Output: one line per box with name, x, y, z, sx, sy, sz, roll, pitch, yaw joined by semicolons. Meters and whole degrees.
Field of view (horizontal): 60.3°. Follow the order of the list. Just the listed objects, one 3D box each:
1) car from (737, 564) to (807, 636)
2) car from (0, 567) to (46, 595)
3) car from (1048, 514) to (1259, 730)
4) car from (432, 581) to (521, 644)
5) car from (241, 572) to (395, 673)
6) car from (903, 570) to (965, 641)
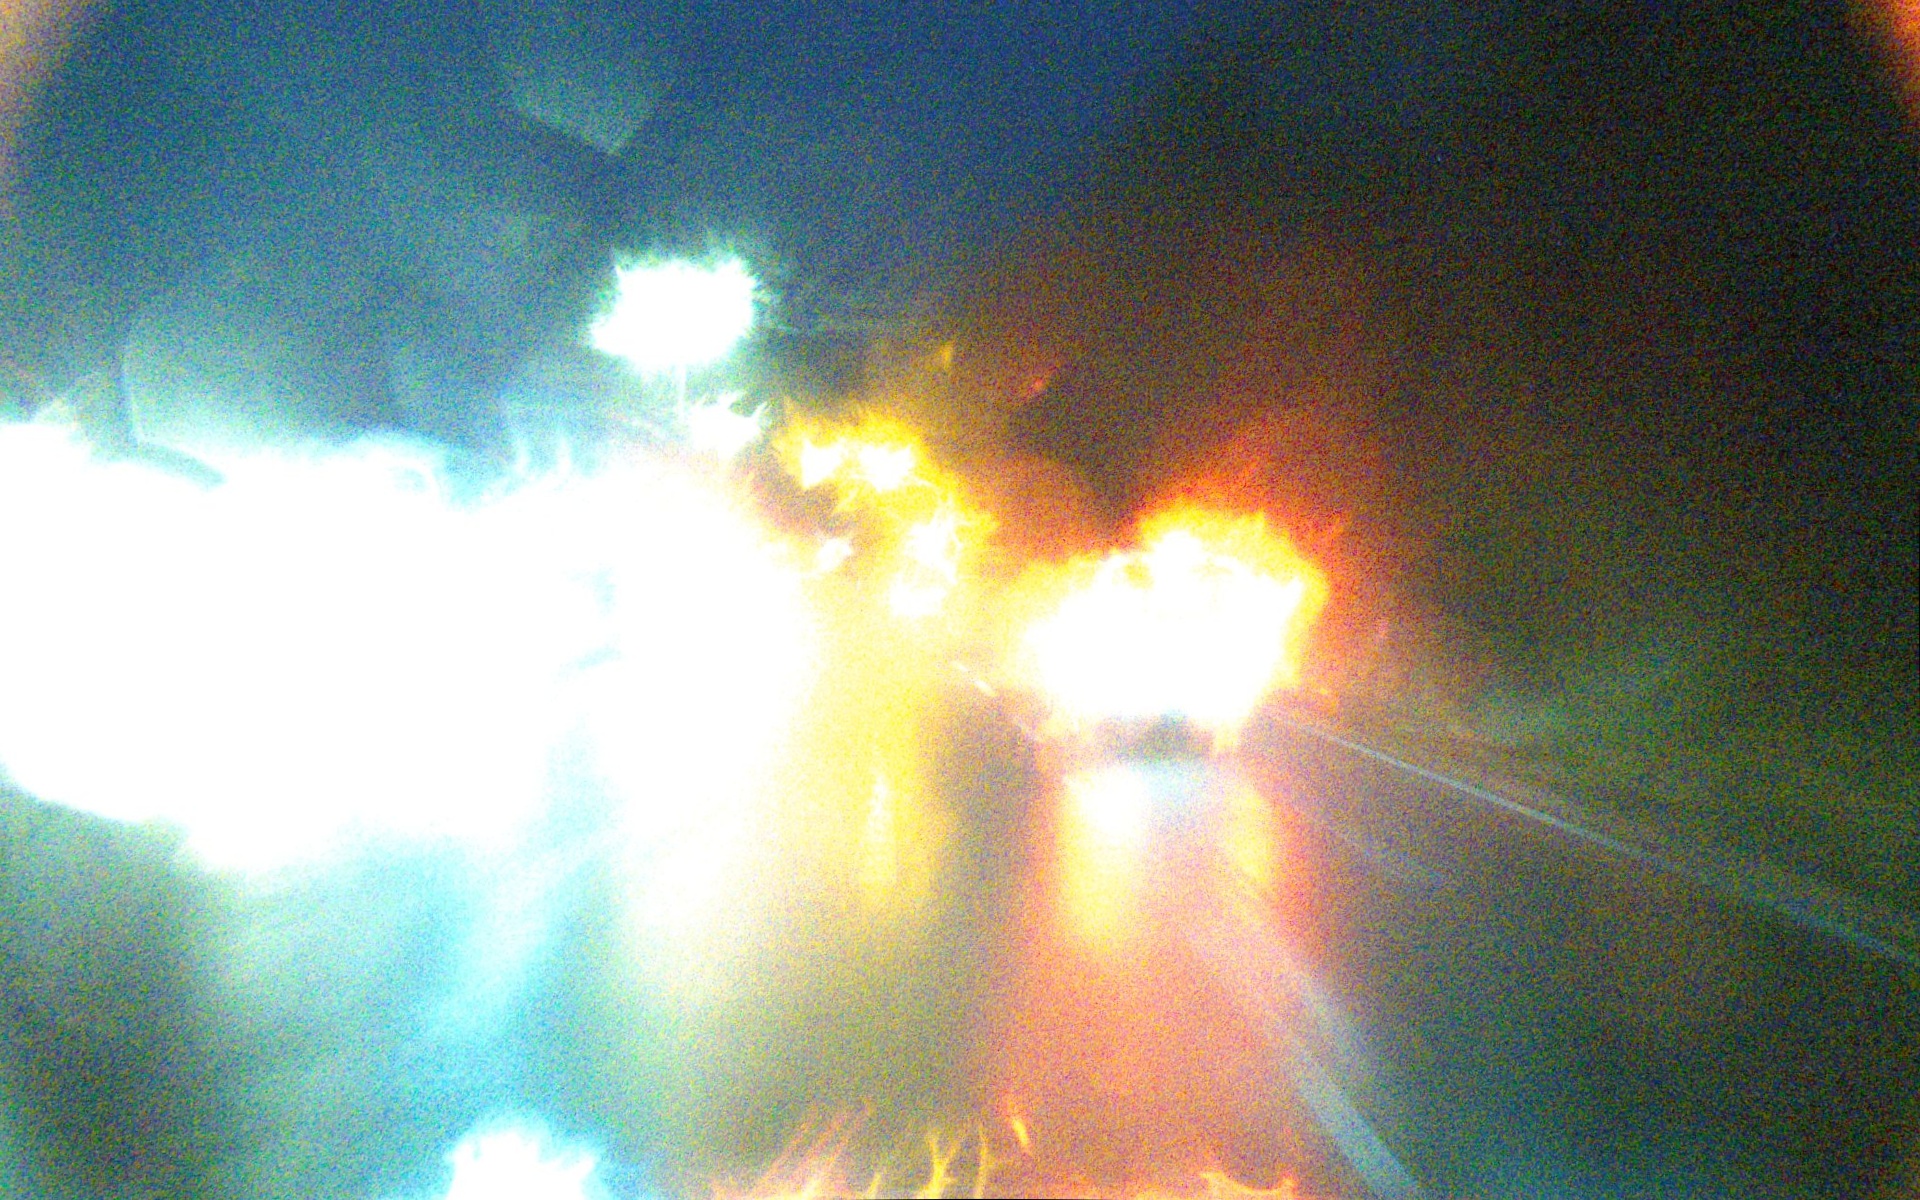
car;-5.023;-0.024;44.244;1.749;1.813;4.430;0;1;-6
car;-53.008;-1.089;93.462;1.695;1.545;3.979;1;1;-19
car;1.971;0.183;18.135;1.755;2.057;4.579;1;1;0
car;-14.033;0.324;48.192;1.728;1.670;4.645;2;0;-7
car;-11.271;0.381;29.298;1.769;1.616;4.020;2;0;-11
car;-0.851;0.140;50.687;1.755;2.057;4.577;1;1;-2
